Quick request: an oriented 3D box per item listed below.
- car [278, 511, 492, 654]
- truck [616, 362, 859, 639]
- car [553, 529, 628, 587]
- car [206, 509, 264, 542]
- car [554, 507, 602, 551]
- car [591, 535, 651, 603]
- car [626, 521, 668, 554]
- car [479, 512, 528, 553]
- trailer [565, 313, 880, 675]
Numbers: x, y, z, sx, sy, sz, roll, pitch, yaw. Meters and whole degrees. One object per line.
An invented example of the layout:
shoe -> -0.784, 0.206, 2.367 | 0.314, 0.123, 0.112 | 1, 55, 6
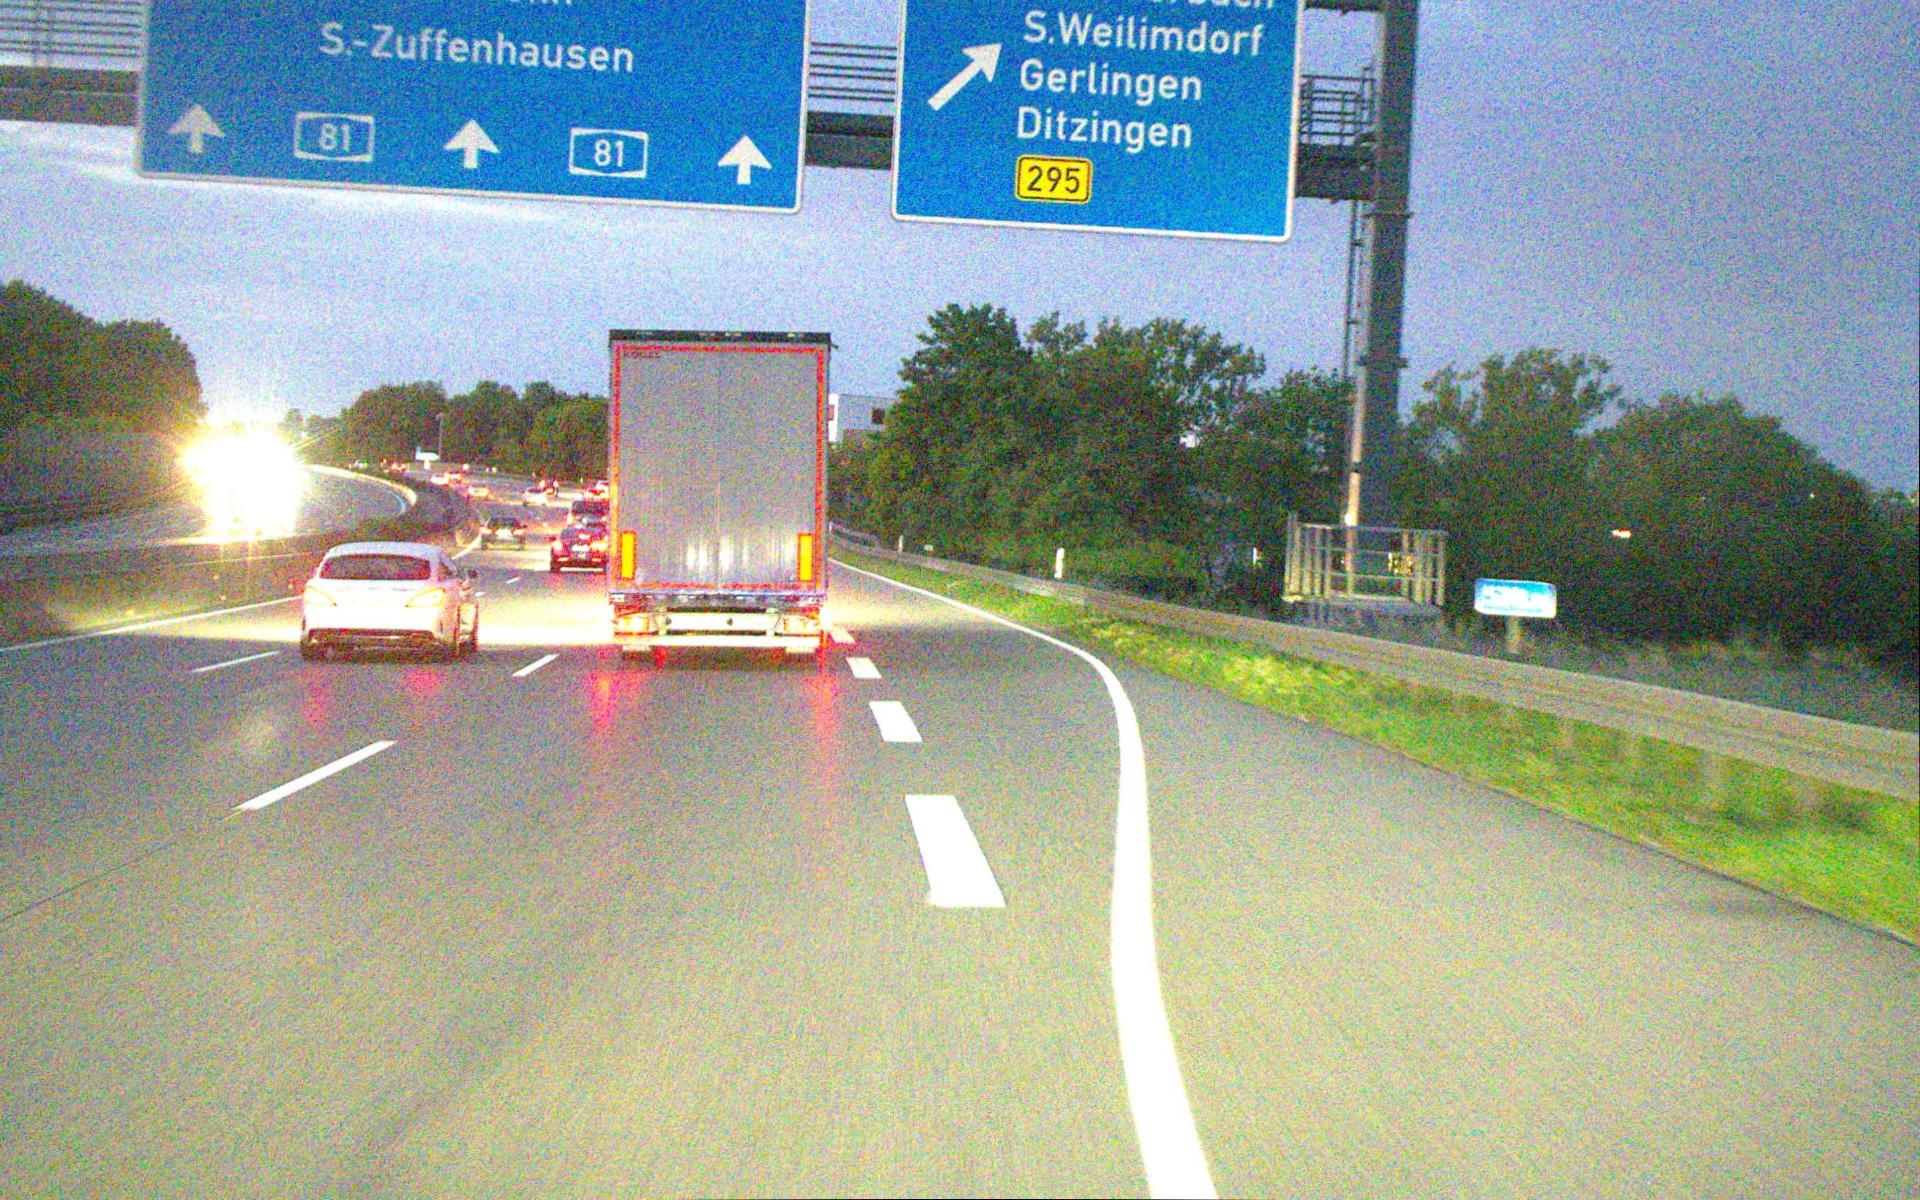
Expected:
car -> -7.033, -0.190, 42.499 | 1.906, 1.609, 4.804 | 2, 0, -1
truck -> -3.441, -1.538, 53.961 | 3.550, 4.077, 6.152 | 0, 1, -3
car -> -11.535, -1.291, 107.478 | 2.065, 1.680, 4.577 | 2, 0, -3
car -> -33.508, -3.445, 159.001 | 1.993, 1.414, 4.152 | 2, 1, -3
car -> -18.788, -3.473, 169.228 | 1.993, 2.007, 4.000 | 2, 0, -2
car -> -12.343, -1.110, 125.026 | 1.993, 2.372, 4.001 | 2, 0, -7
car -> -15.672, -3.111, 172.162 | 1.993, 1.529, 4.001 | 2, 0, -6
car -> -19.459, -2.874, 146.731 | 1.761, 1.569, 4.577 | 2, 0, -4
trailer -> -3.073, -1.372, 46.692 | 3.550, 4.102, 15.065 | 0, 1, -3
